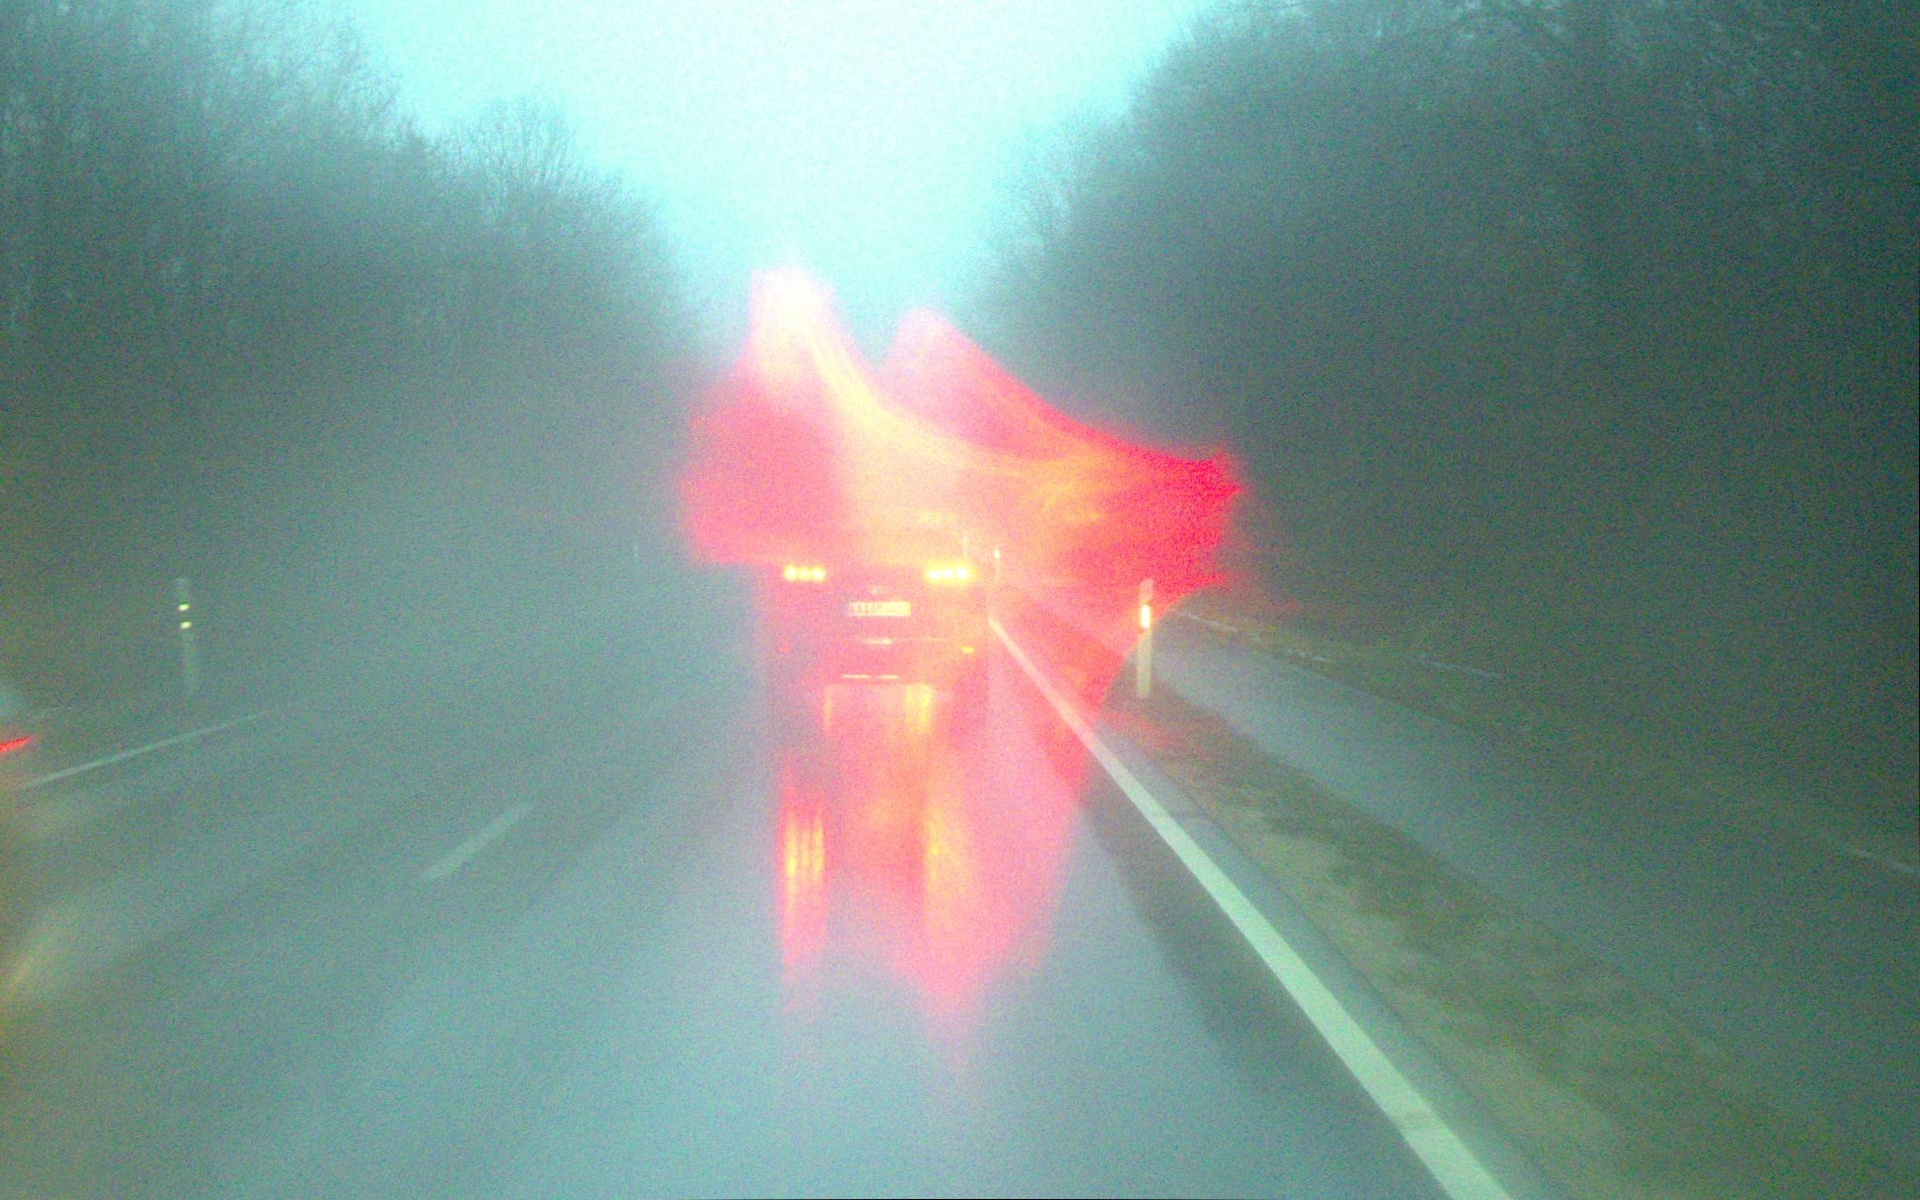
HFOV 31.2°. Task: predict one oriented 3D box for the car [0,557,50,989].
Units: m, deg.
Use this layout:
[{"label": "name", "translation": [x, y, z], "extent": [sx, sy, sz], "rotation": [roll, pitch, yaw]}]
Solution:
[{"label": "car", "translation": [-3.870, 0.609, 9.721], "extent": [1.618, 1.384, 4.072], "rotation": [-1, 2, -2]}]
